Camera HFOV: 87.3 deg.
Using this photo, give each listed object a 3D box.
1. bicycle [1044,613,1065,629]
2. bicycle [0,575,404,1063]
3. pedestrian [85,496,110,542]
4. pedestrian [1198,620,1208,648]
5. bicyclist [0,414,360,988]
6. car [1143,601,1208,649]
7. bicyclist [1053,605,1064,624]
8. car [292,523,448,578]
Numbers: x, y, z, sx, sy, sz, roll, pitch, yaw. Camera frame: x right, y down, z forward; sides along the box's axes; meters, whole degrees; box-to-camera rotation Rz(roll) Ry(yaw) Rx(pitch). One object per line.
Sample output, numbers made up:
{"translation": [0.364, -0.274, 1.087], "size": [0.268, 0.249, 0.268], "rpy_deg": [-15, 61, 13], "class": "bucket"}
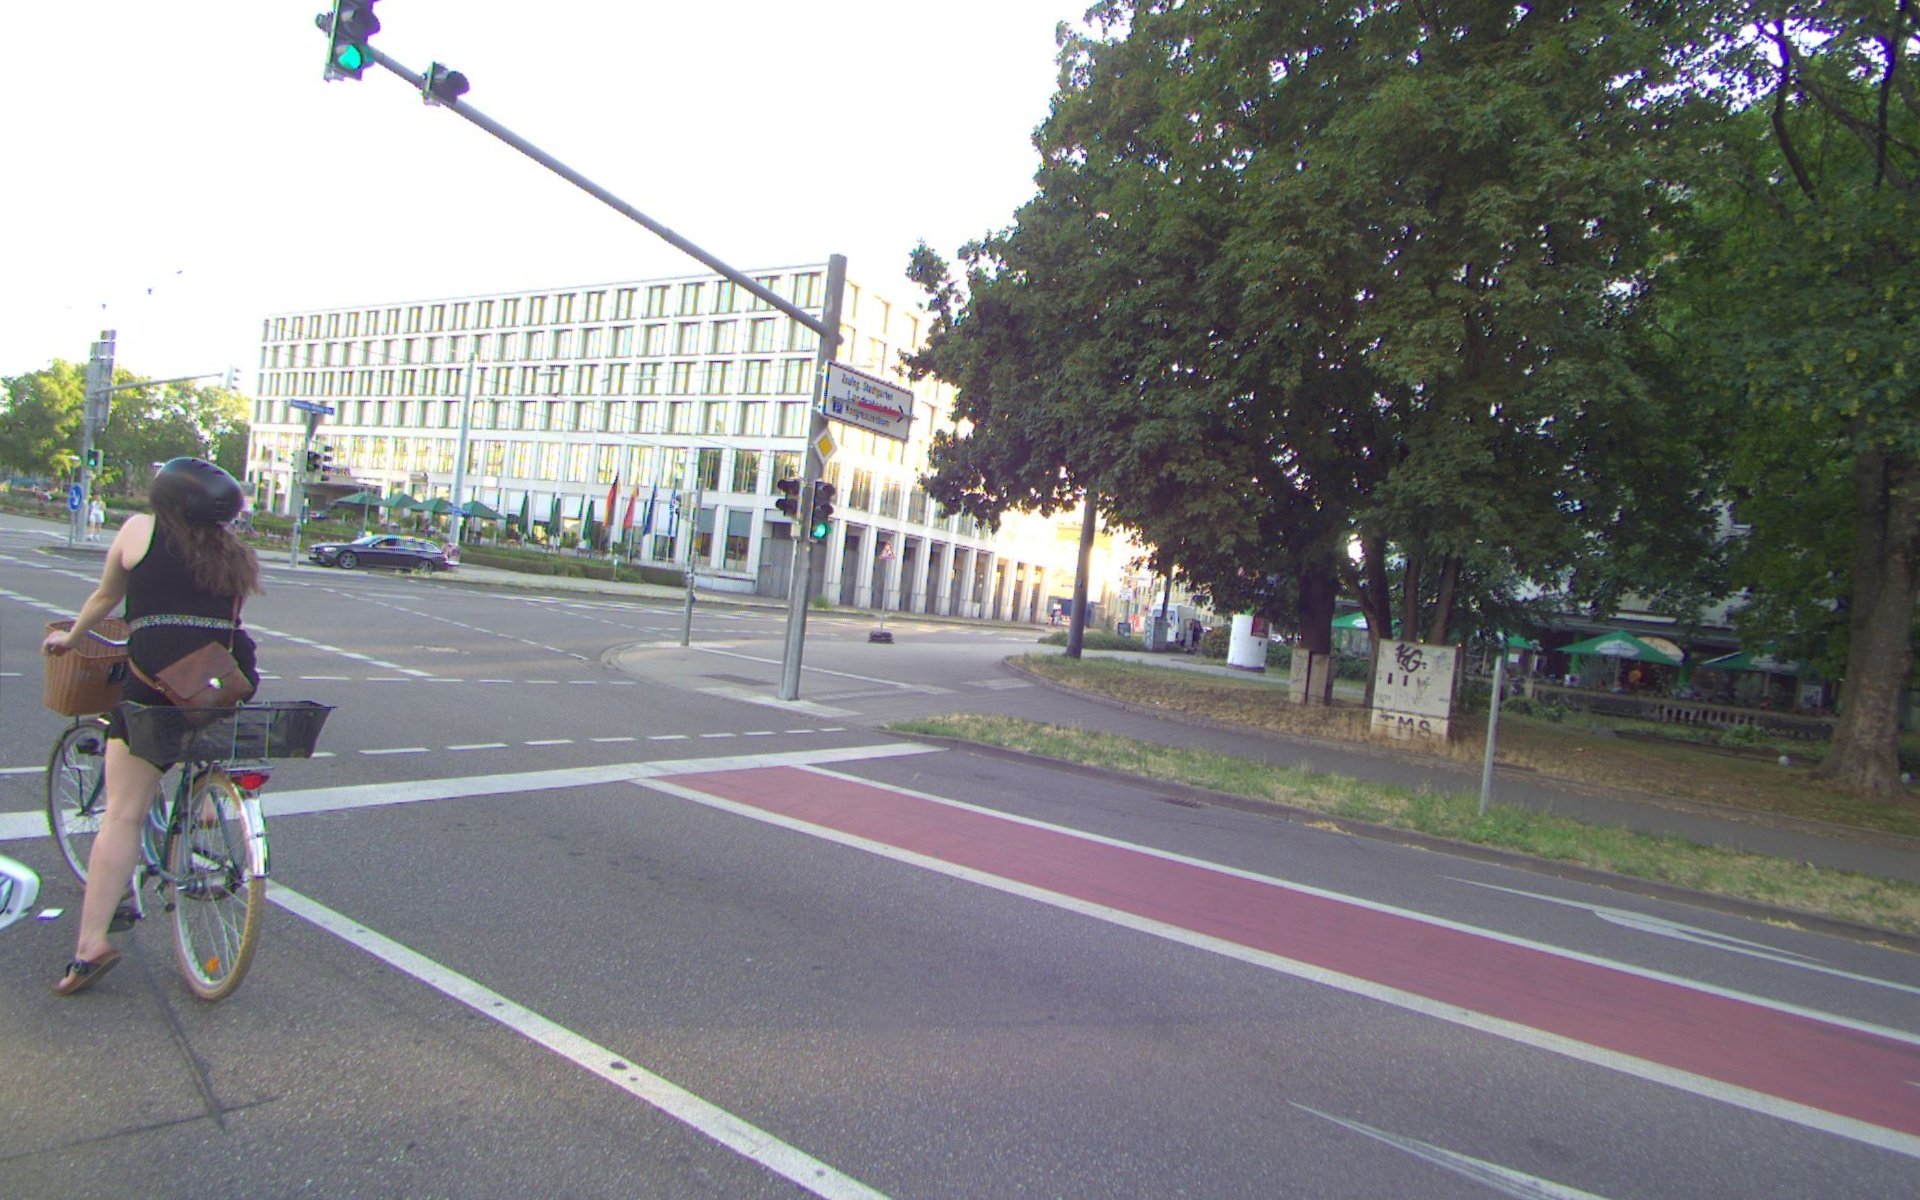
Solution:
{"translation": [8.027, 1.792, 84.911], "size": [0.592, 1.120, 2.775], "rpy_deg": [7, 0, 29], "class": "bicycle"}
{"translation": [-2.822, 0.586, 3.445], "size": [1.971, 1.146, 0.612], "rpy_deg": [7, -1, 32], "class": "bicycle"}
{"translation": [-30.769, -2.891, 35.885], "size": [0.402, 1.559, 0.491], "rpy_deg": [7, 2, 31], "class": "pedestrian"}
{"translation": [13.525, 1.901, 55.982], "size": [0.302, 1.525, 0.336], "rpy_deg": [7, -1, 31], "class": "pedestrian"}
{"translation": [-2.698, 0.269, 3.399], "size": [0.982, 1.655, 0.600], "rpy_deg": [7, 0, 32], "class": "bicyclist"}
{"translation": [11.950, 1.405, 55.541], "size": [1.967, 2.318, 4.605], "rpy_deg": [6, 0, 31], "class": "car"}
{"translation": [8.368, 1.245, 85.383], "size": [0.567, 1.556, 0.708], "rpy_deg": [7, 1, 29], "class": "bicyclist"}
{"translation": [-23.052, -1.906, 39.484], "size": [1.968, 1.534, 4.826], "rpy_deg": [7, 0, 34], "class": "car"}
